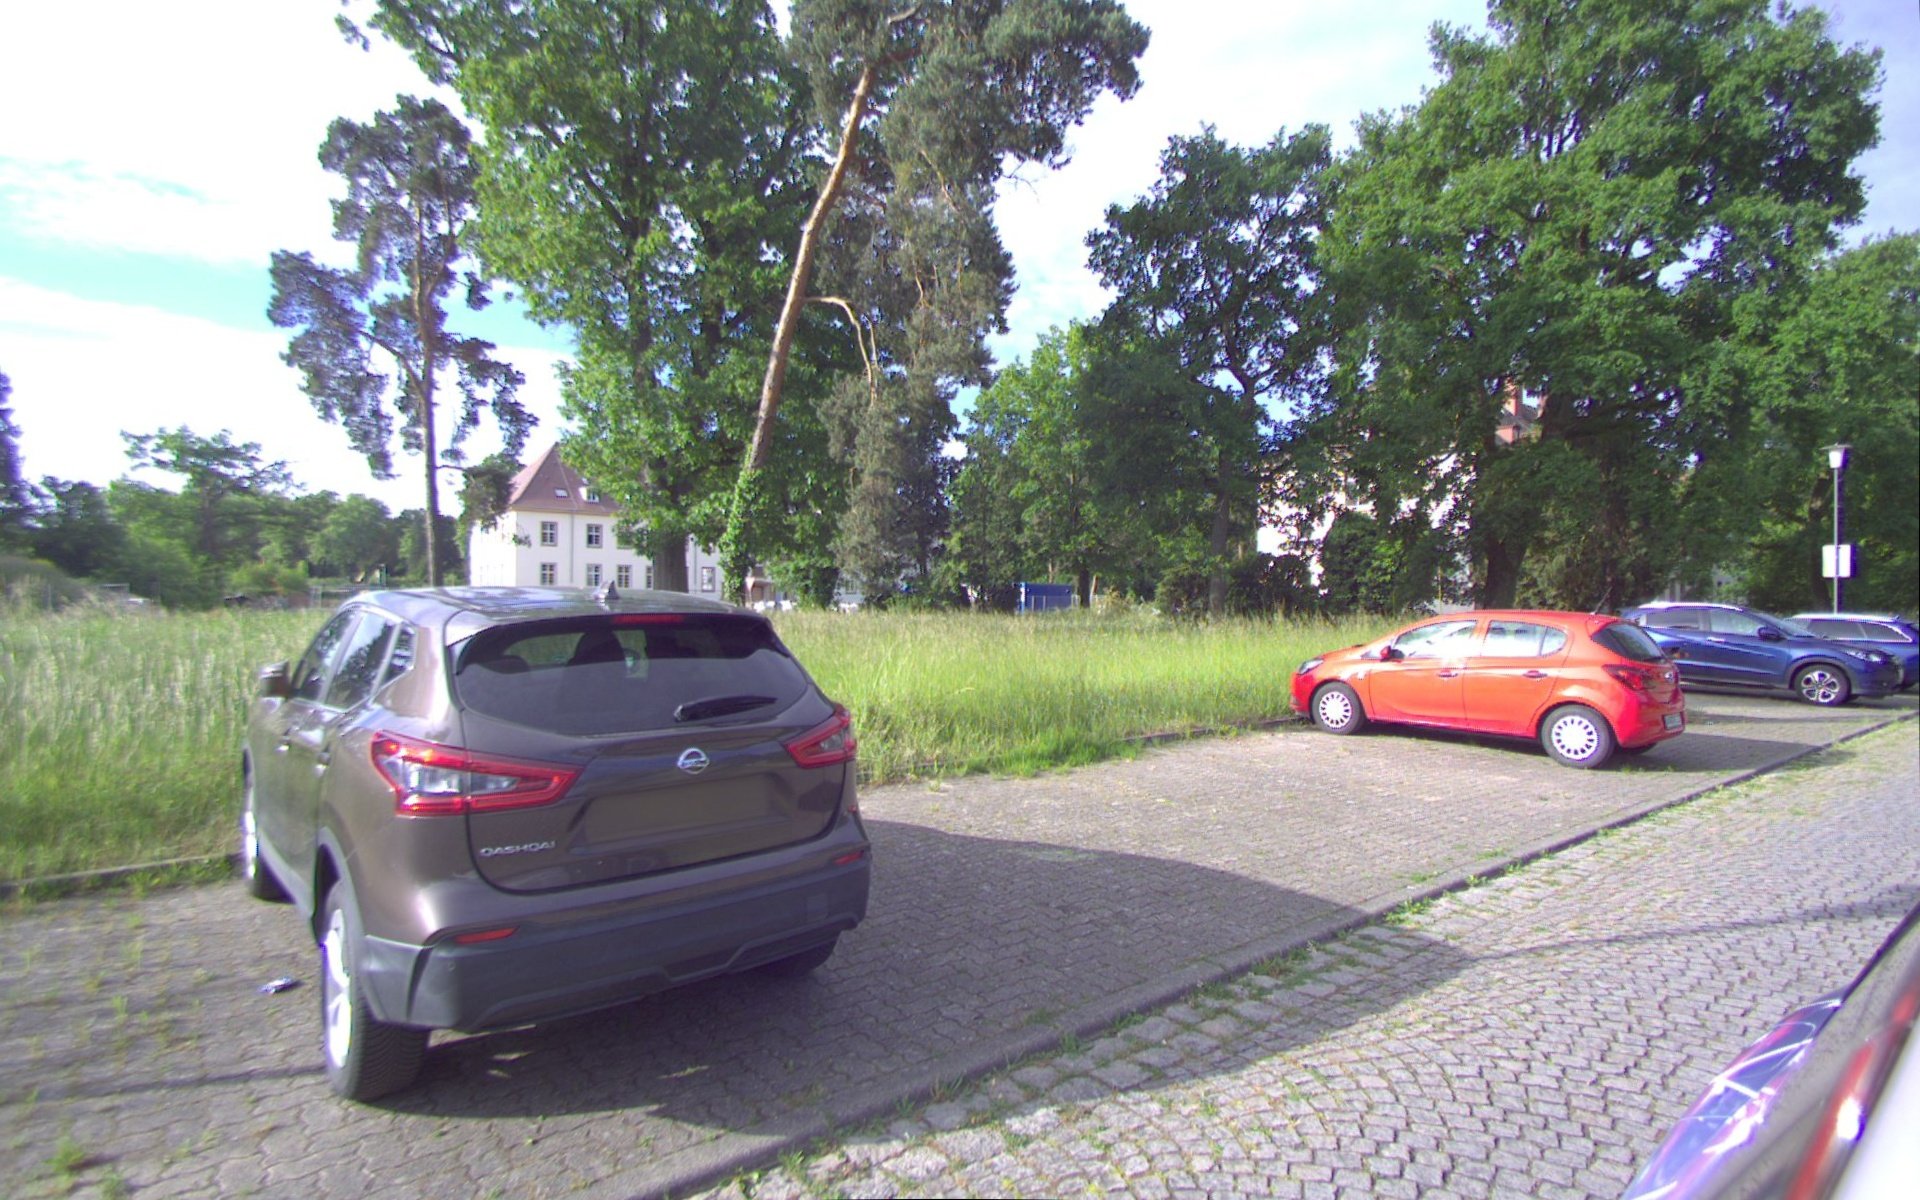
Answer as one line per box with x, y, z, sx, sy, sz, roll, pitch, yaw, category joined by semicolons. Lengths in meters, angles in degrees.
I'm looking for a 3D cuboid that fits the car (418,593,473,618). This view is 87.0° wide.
-44.227;0.441;86.900;5.648;2.039;2.591;0;0;45;car

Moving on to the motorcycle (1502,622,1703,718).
8.944;0.934;14.202;0.595;1.127;2.308;0;1;-37;motorcycle

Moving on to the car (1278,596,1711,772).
5.670;0.751;11.138;1.657;1.491;3.885;-1;2;-39;car

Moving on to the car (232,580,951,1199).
-2.068;0.714;4.679;1.844;1.608;4.199;-1;1;-39;car

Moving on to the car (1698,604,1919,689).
17.350;0.862;20.085;1.750;1.469;4.038;0;1;-36;car

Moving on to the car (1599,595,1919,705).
13.604;0.748;17.388;1.715;1.588;4.135;-1;1;-39;car
